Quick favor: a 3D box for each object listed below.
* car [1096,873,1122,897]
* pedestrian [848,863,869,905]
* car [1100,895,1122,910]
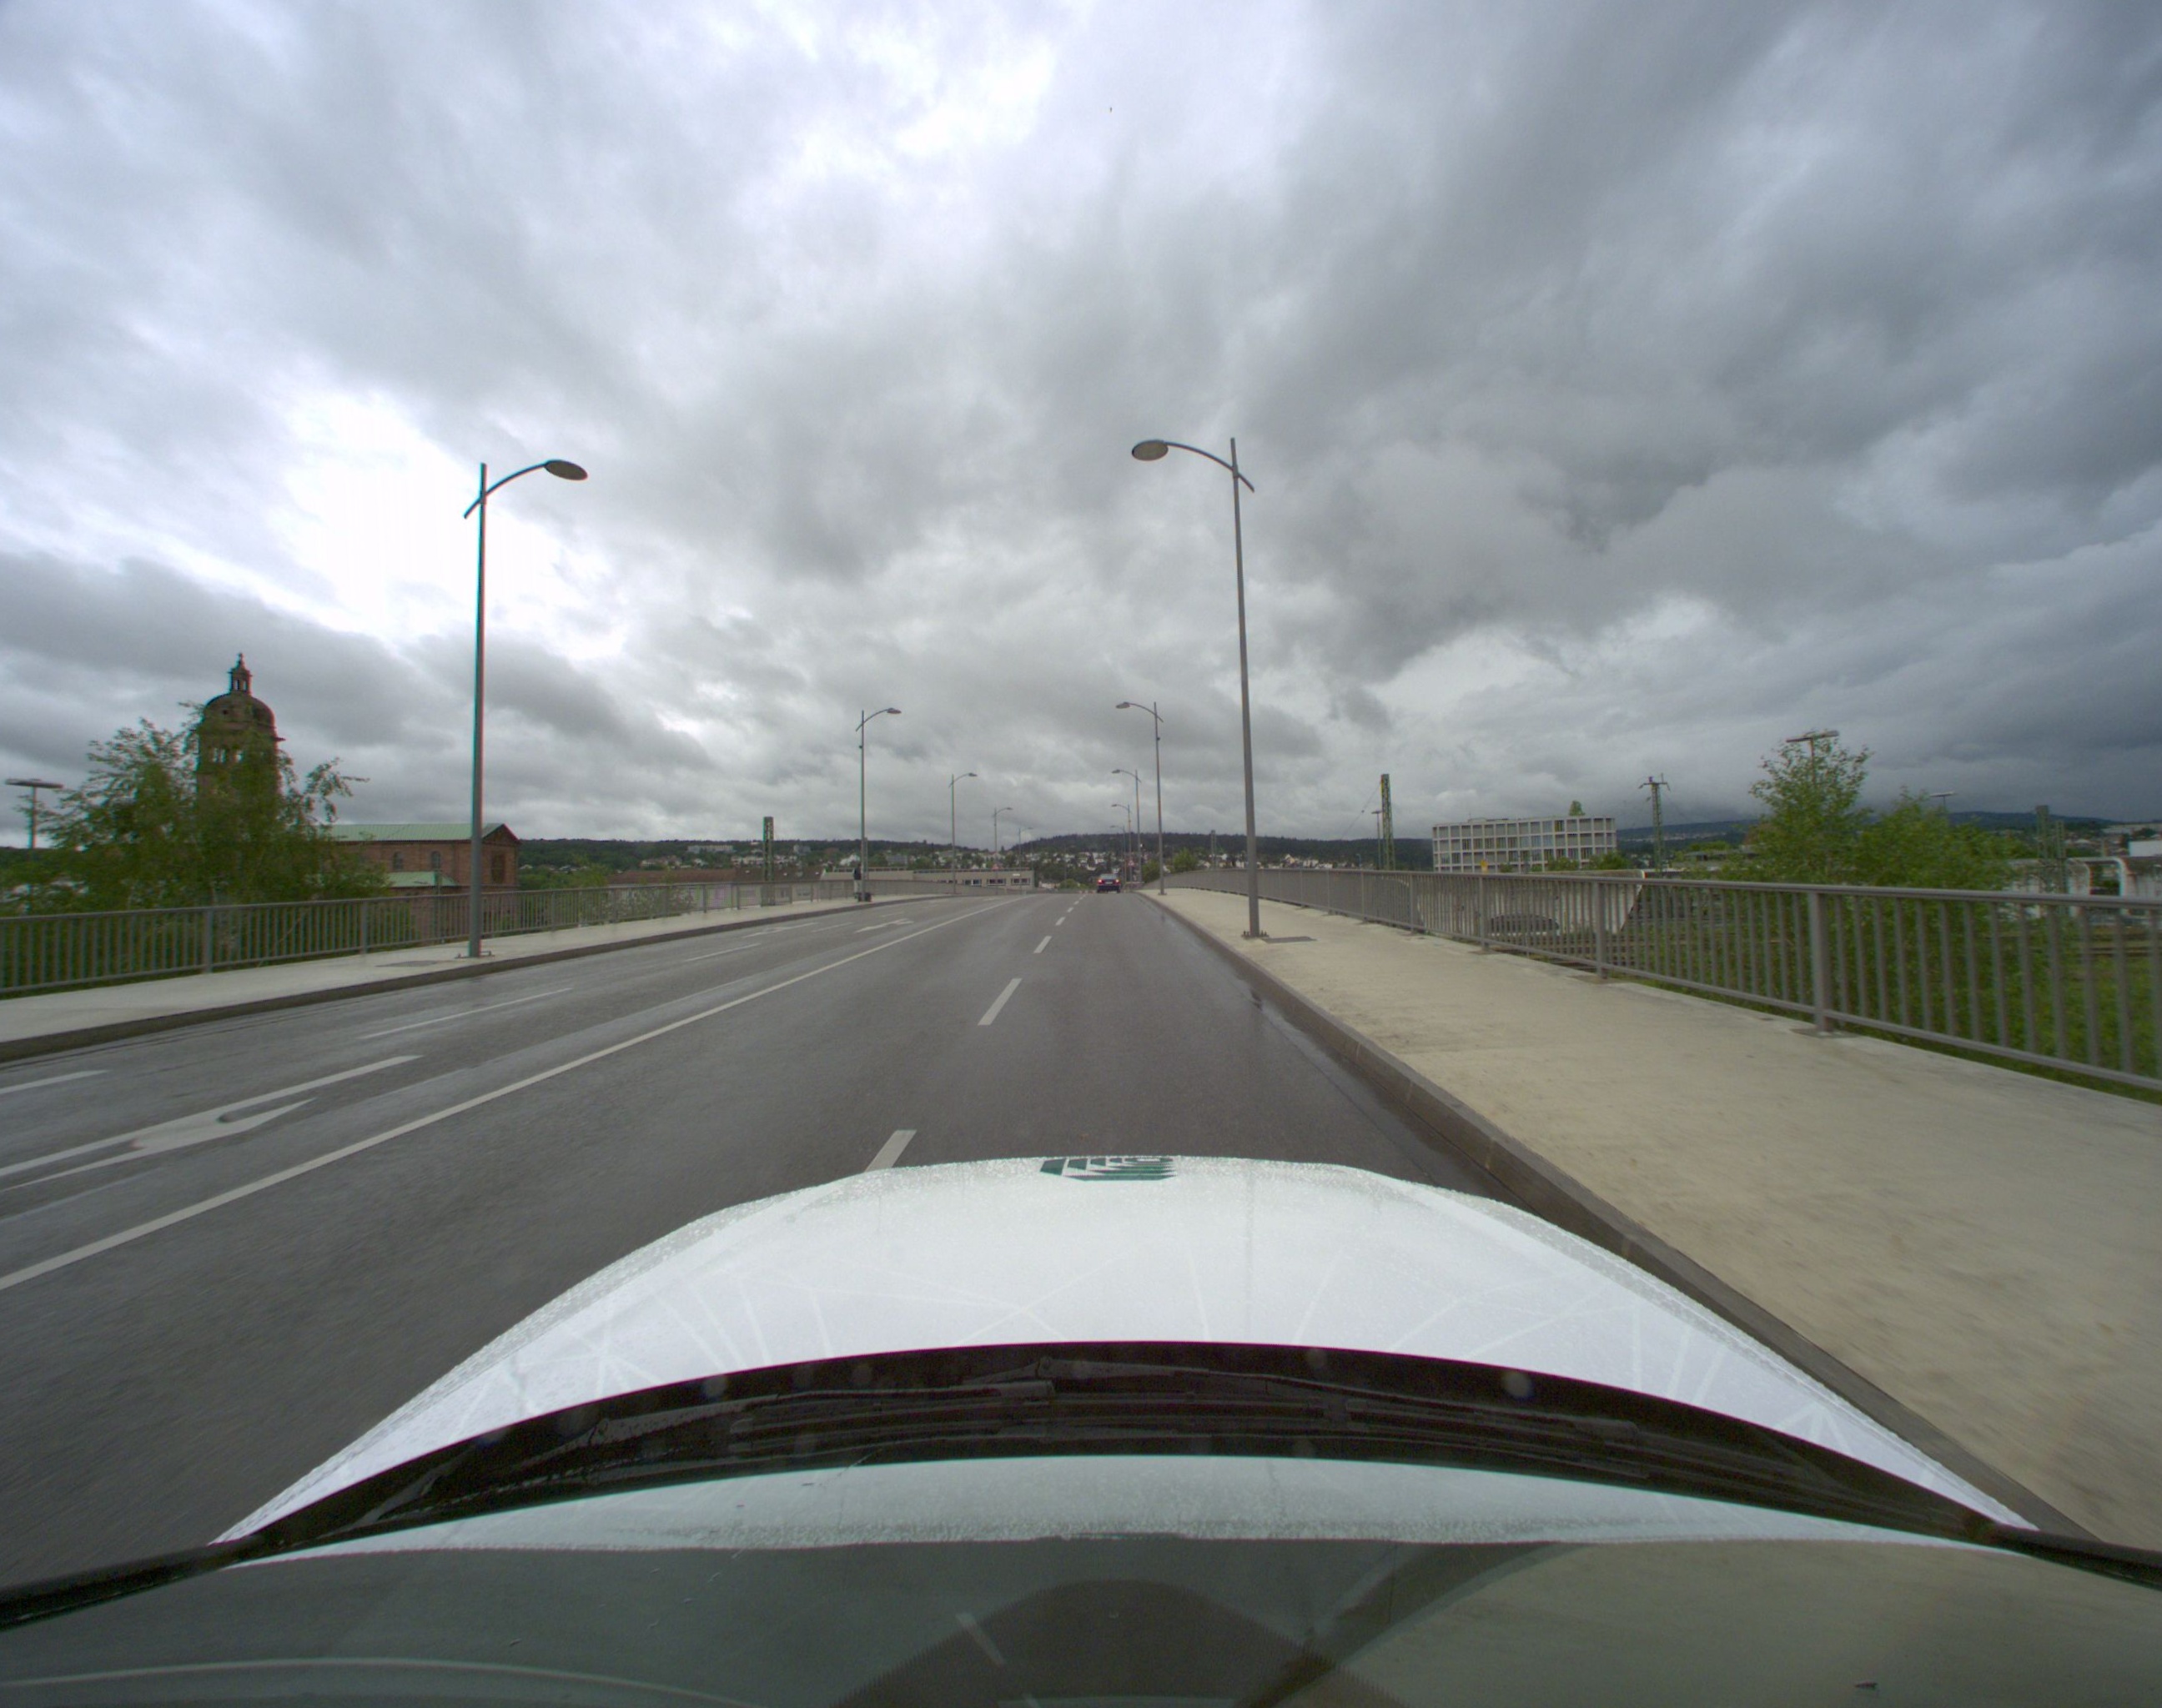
[{"bbox_3d":[2.056,2.293,59.466,1.747,1.480,4.000,-3,-6,2],"label":"car"},{"bbox_3d":[-11.540,1.569,42.271,0.753,2.049,0.891,-3,-6,1],"label":"pedestrian"},{"bbox_3d":[5.419,8.680,145.379,1.934,2.099,4.116,-11,-12,32],"label":"car"}]
